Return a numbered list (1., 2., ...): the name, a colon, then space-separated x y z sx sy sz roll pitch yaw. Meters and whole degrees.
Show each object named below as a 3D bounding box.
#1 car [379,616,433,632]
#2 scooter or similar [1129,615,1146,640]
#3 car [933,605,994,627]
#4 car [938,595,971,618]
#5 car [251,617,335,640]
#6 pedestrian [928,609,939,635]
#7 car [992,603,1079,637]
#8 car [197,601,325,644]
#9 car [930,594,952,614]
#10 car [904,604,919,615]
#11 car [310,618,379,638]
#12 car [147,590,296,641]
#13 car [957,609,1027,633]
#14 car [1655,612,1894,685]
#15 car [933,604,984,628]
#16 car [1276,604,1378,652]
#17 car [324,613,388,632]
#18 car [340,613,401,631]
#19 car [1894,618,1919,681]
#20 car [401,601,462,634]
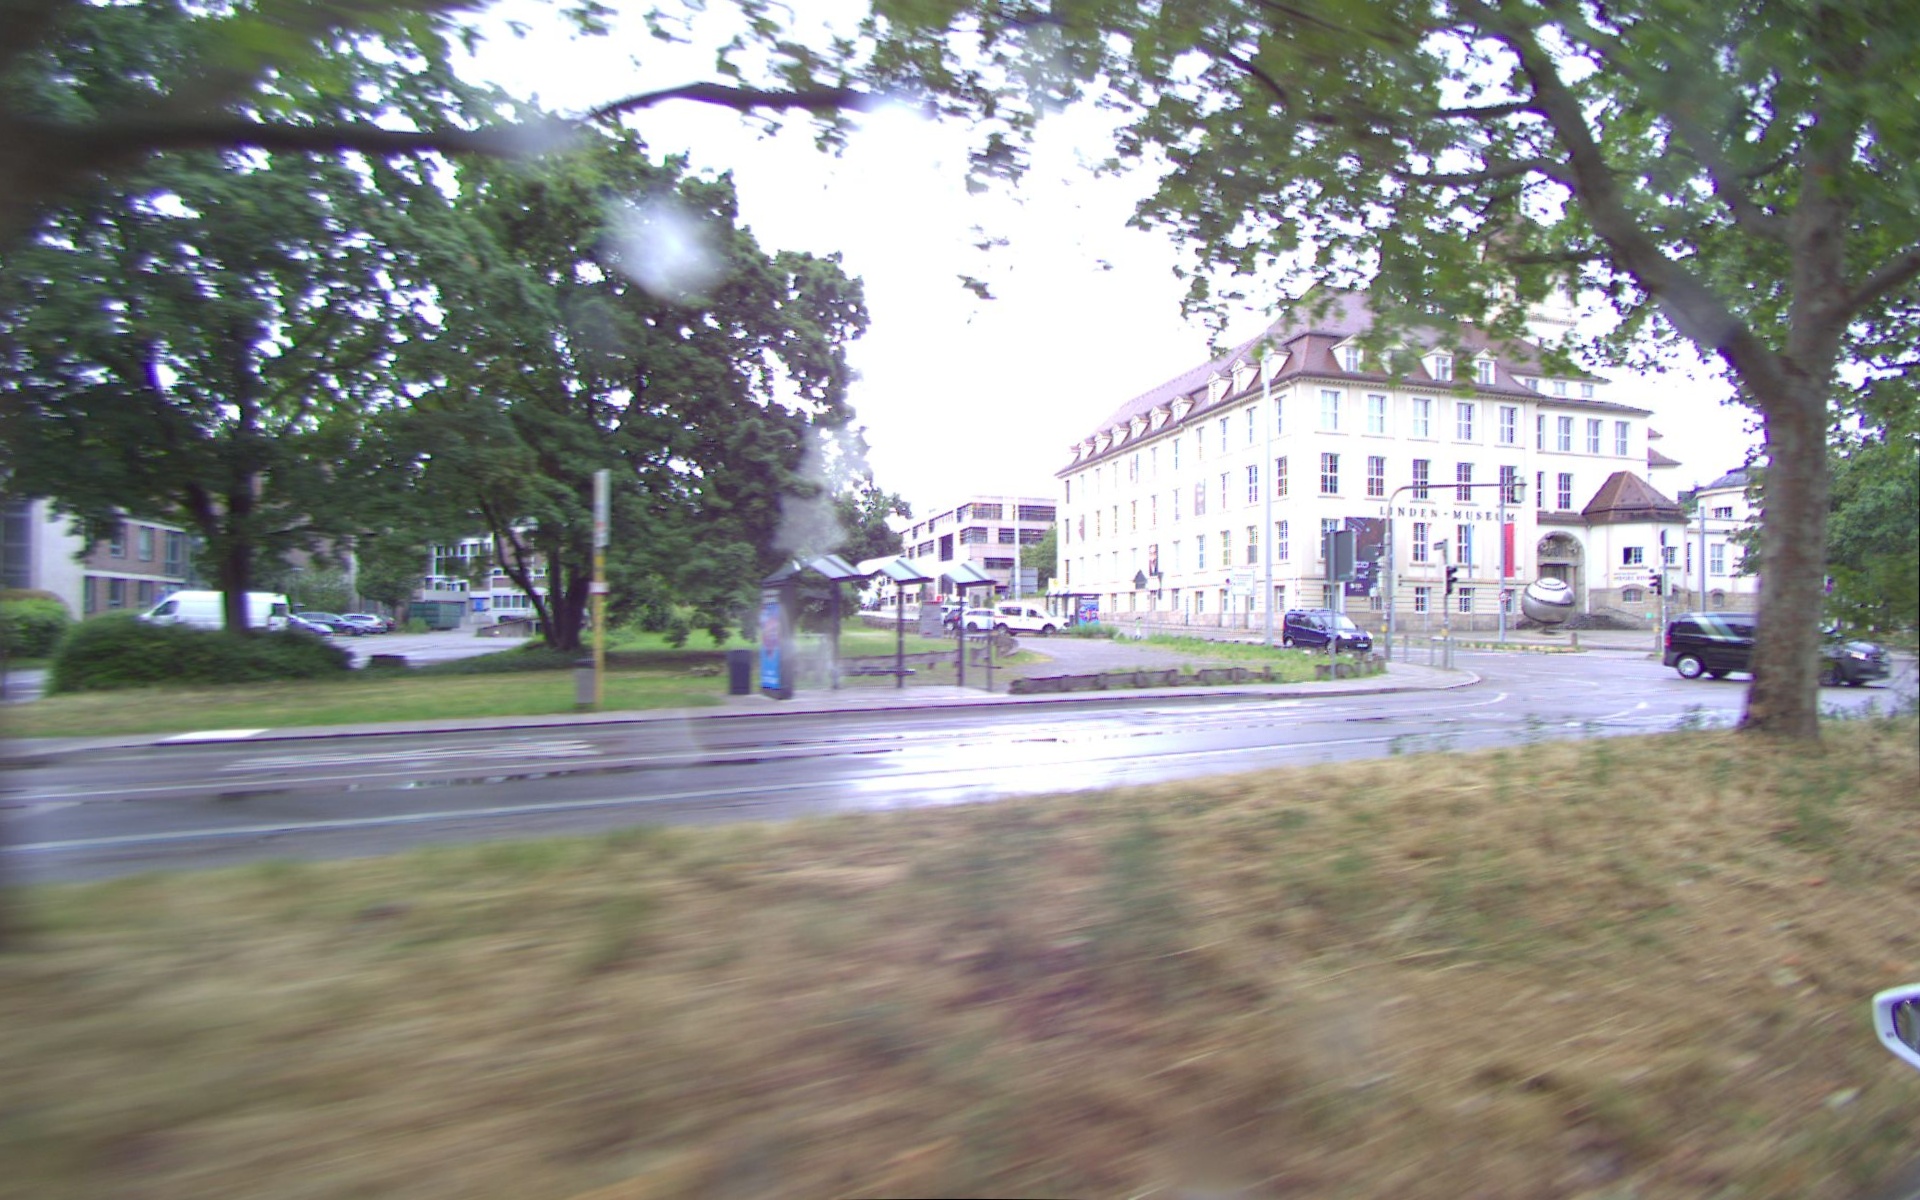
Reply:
1. car: -44.033 1.926 79.899 3.498 1.158 1.587 2 0 -16
2. scooter or similar: 8.655 1.352 48.939 0.541 1.182 1.253 2 0 22
3. car: 0.252 1.161 71.619 4.006 1.461 1.849 1 0 34
4. car: -0.667 0.683 110.982 1.968 2.344 5.906 2 0 -17
5. car: -37.005 1.579 55.825 3.498 1.158 1.685 2 0 -16
6. pedestrian: -1.650 1.360 62.115 0.557 1.548 0.670 2 0 -5
7. car: 4.123 1.074 55.110 4.422 1.791 1.832 0 -1 26
8. car: -36.816 1.186 53.058 4.995 2.049 2.281 2 0 -16
9. car: -2.661 0.504 140.185 1.968 2.652 3.986 2 0 -17
10. car: -8.473 1.659 176.337 1.814 1.581 3.987 2 1 -15
11. car: -40.139 1.815 65.533 3.498 1.158 1.587 2 0 -16
12. car: -35.905 0.748 48.977 5.373 2.242 2.110 2 0 -13
13. car: 2.020 1.335 62.588 3.994 1.461 1.854 0 -1 18
14. car: 22.299 1.269 27.743 1.974 1.833 4.756 0 -1 -26
15. car: -0.148 1.192 75.435 1.837 1.765 4.032 1 -2 -37
16. car: 15.547 1.156 42.783 1.771 1.933 4.289 0 -1 -20
17. car: -41.897 1.551 69.753 3.498 1.158 1.587 2 0 -16
18. car: -42.486 1.614 72.475 3.498 1.158 1.587 2 0 -16
19. car: 27.796 1.321 26.079 1.980 1.695 4.922 2 -2 -35
20. car: -48.486 1.570 92.386 3.539 2.855 6.445 2 0 -15
